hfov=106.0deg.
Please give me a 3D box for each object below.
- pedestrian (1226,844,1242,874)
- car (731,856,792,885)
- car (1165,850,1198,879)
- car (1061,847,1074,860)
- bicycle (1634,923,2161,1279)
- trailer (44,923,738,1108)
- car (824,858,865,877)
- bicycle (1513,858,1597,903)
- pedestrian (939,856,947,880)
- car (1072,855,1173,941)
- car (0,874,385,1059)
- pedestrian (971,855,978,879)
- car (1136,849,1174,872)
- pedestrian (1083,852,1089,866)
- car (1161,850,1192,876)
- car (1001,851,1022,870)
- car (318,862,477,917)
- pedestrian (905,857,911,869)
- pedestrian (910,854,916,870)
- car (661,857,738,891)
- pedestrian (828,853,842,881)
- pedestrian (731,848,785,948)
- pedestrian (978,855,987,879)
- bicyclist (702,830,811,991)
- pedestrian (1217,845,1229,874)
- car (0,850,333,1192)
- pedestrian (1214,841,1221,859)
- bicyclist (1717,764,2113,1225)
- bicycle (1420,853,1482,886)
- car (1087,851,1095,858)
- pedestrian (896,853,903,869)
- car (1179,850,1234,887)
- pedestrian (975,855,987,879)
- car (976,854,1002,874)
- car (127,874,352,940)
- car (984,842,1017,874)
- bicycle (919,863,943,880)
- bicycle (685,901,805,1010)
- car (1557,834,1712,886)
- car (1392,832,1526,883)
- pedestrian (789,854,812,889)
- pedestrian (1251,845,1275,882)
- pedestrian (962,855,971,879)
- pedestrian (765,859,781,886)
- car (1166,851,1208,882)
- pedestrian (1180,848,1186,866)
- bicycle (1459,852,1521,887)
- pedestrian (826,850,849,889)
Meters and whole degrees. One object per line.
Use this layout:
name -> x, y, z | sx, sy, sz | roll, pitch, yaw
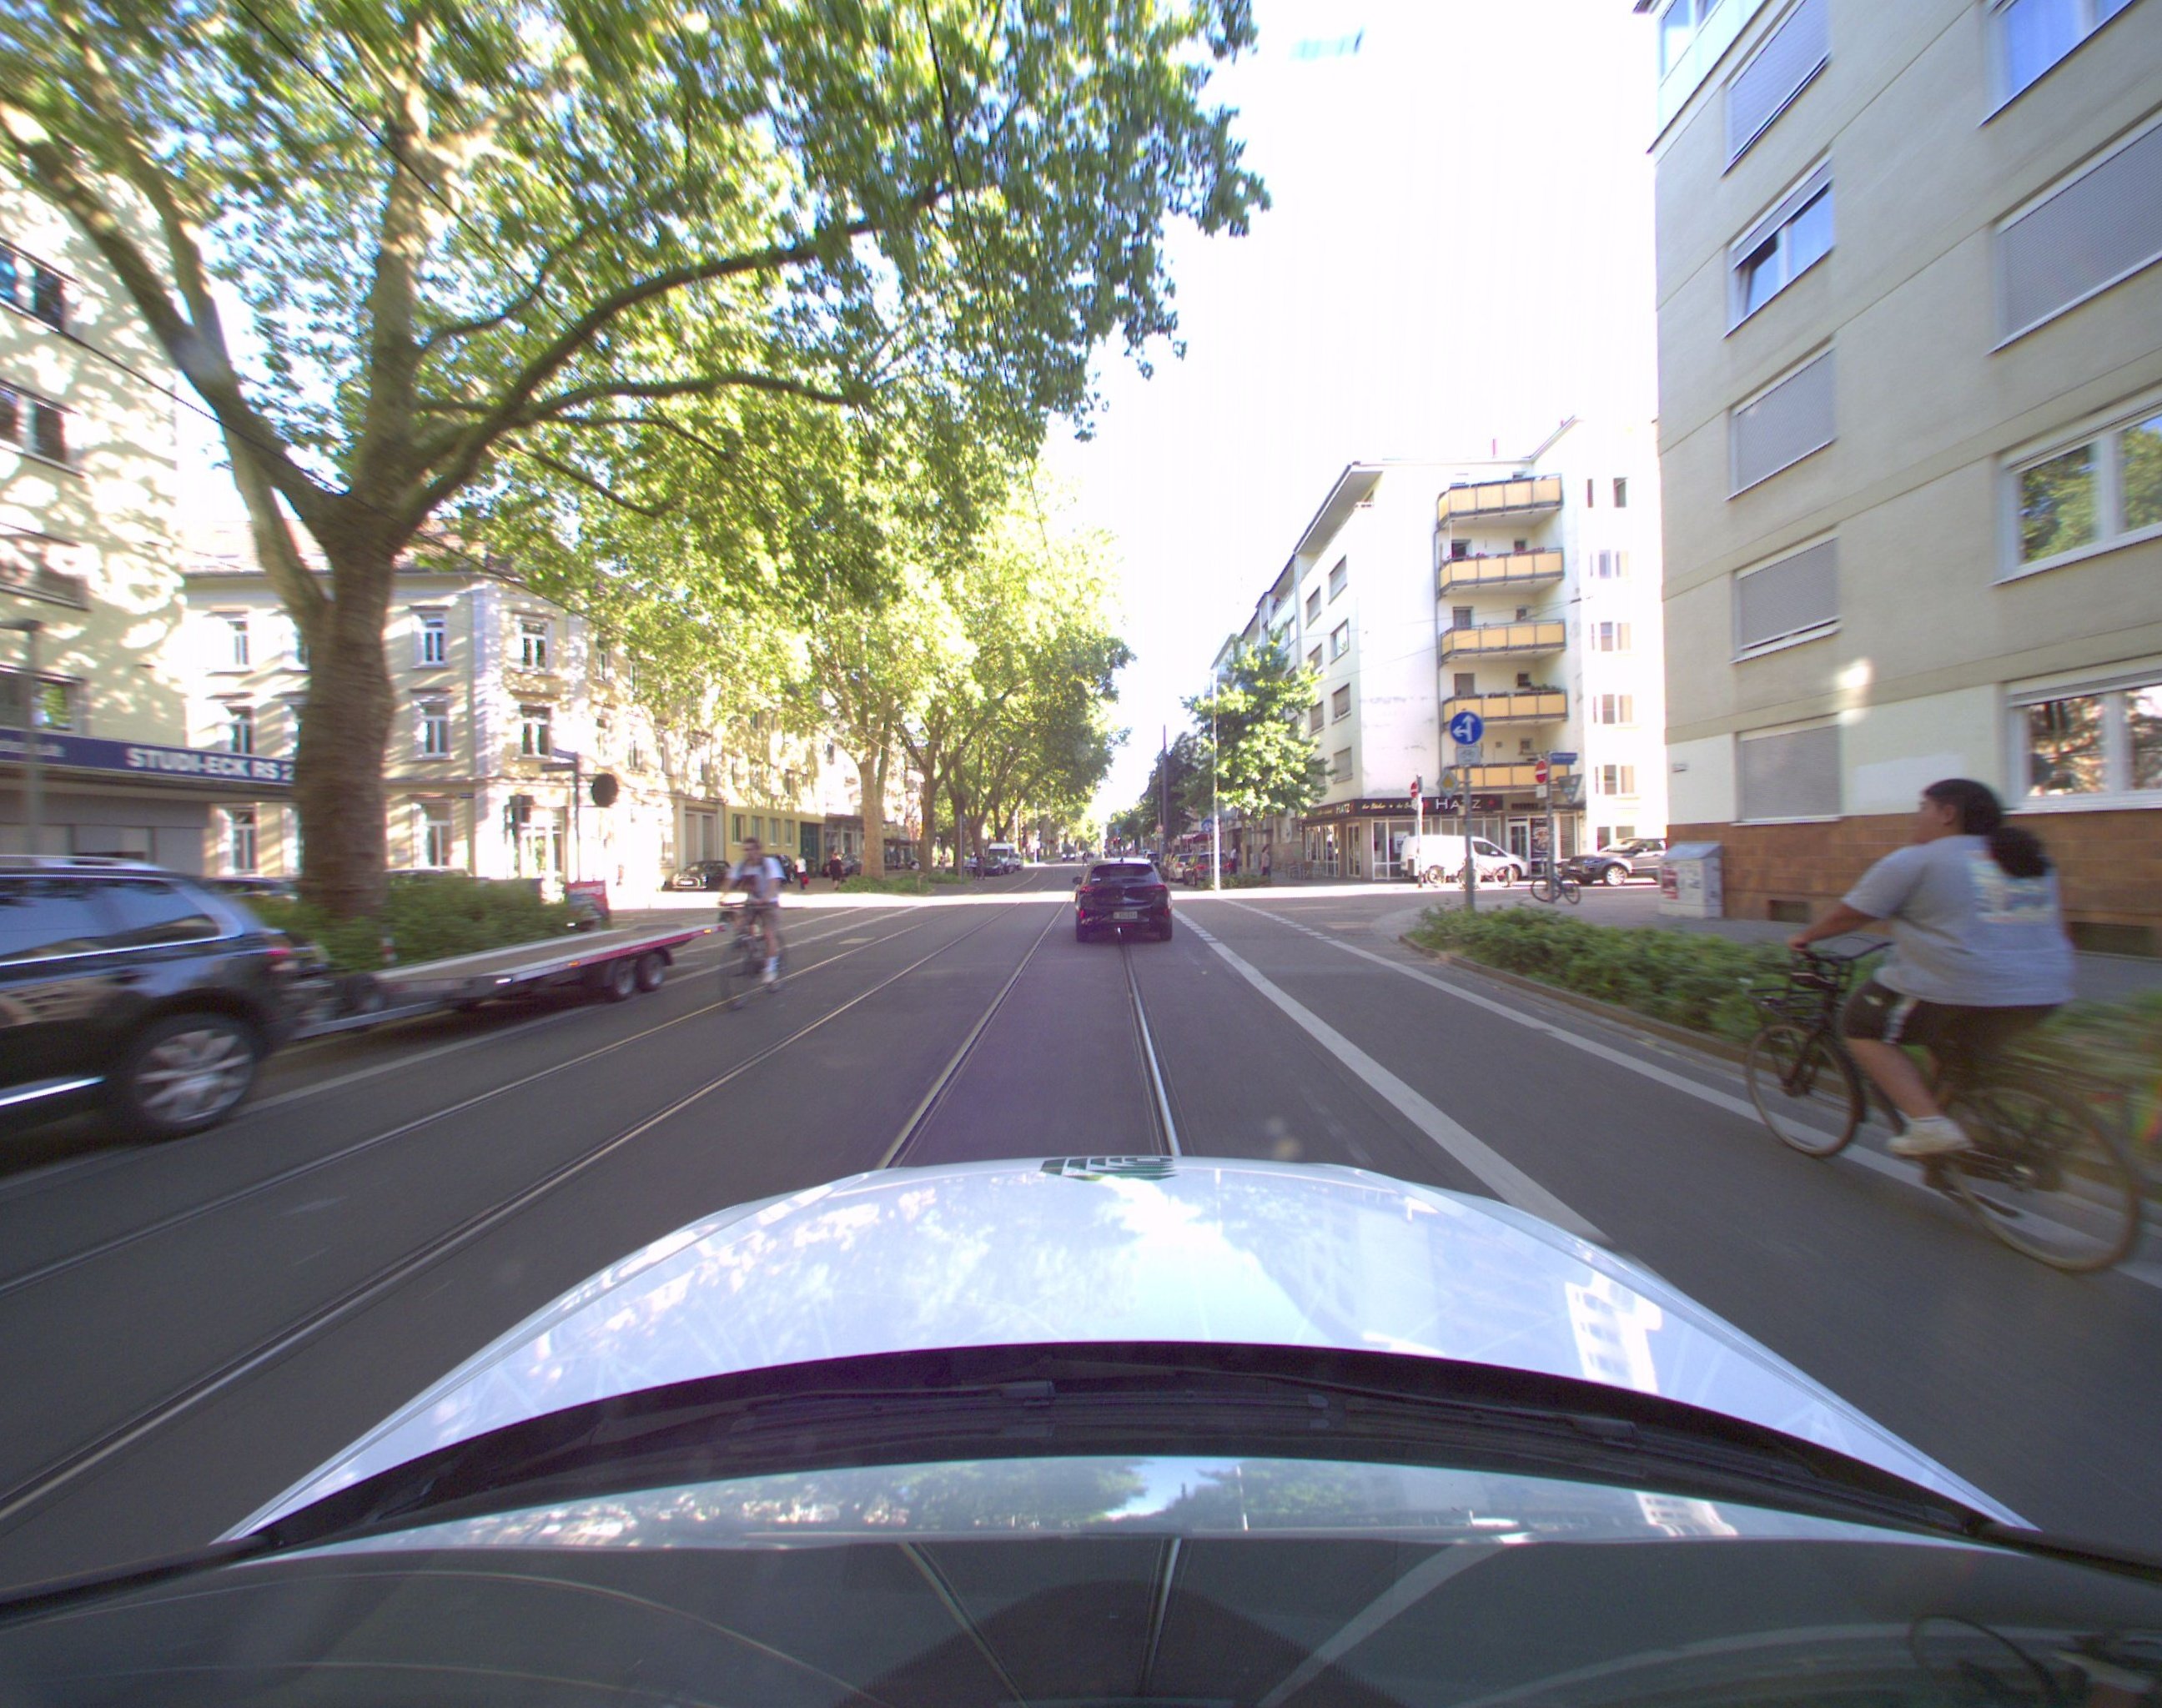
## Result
pedestrian -> 9.135, 0.314, 48.606 | 0.789, 1.748, 0.771 | -1, 0, 3
car -> -17.813, 0.883, 45.586 | 1.675, 1.517, 4.002 | 0, 0, 2
car -> 5.812, 0.586, 47.448 | 1.644, 1.574, 3.086 | -1, 0, 3
car -> -2.351, -0.061, 138.168 | 1.989, 2.211, 5.097 | -1, 0, -3
bicycle -> 3.635, 0.954, 3.865 | 0.698, 1.092, 1.990 | 1, -1, 1
trailer -> -6.247, 1.414, 8.986 | 2.154, 0.632, 6.399 | -4, 0, 0
car -> -17.115, 0.939, 59.071 | 1.689, 1.276, 3.829 | -1, 0, 1
bicycle -> 11.628, 0.630, 20.066 | 0.801, 1.015, 1.966 | -2, 0, -4
pedestrian -> -9.228, 0.900, 54.449 | 0.507, 1.583, 0.525 | -1, 0, -10
car -> 0.726, 0.733, 15.415 | 1.674, 1.422, 3.628 | 0, 0, 1
car -> -9.374, 1.026, 8.010 | 3.421, 1.530, 1.786 | -1, 0, -2
pedestrian -> -7.080, 0.869, 54.160 | 0.345, 1.583, 0.508 | -1, 0, -1
car -> 5.561, 0.454, 61.802 | 1.992, 1.640, 3.990 | -1, 0, -7
pedestrian -> 0.565, 0.522, 93.175 | 0.594, 1.590, 0.891 | -1, 0, -6
car -> 5.978, 0.554, 51.322 | 1.711, 1.574, 3.685 | -1, 0, 3
car -> -6.826, 0.633, 80.630 | 1.990, 1.717, 3.994 | -1, 0, -4
car -> -23.179, 1.185, 27.721 | 3.632, 1.584, 2.002 | -1, 3, 2
pedestrian -> -18.164, 0.935, 85.343 | 0.505, 1.333, 0.526 | -1, 0, -2
pedestrian -> -17.510, 0.829, 85.056 | 0.505, 1.583, 0.526 | -1, 0, -2
car -> -18.327, 0.923, 39.276 | 1.675, 1.464, 4.002 | -1, 0, 2
pedestrian -> -14.861, 0.799, 49.249 | 0.549, 1.652, 0.650 | -1, 0, 5
pedestrian -> -5.903, 0.783, 14.934 | 0.712, 1.735, 0.909 | -3, 0, -13
pedestrian -> -6.553, 0.878, 54.193 | 0.505, 1.583, 0.527 | -1, 0, 1
bicyclist -> -3.589, 0.593, 9.081 | 0.781, 1.678, 0.957 | -1, 0, 1
pedestrian -> 8.271, 0.296, 47.457 | 0.598, 1.651, 0.631 | -1, 0, 2
car -> -6.399, 0.878, 3.546 | 1.986, 1.700, 4.486 | -3, 0, 1
pedestrian -> 13.043, -0.354, 77.721 | 0.626, 1.732, 0.633 | -1, 0, 7
bicyclist -> 3.566, 0.539, 3.591 | 0.784, 1.759, 0.915 | -1, 0, 1
bicycle -> 13.059, 0.539, 28.784 | 1.827, 1.117, 0.704 | -1, 0, 4
car -> 2.461, 0.179, 202.096 | 1.743, 1.651, 4.003 | -1, 0, 3
pedestrian -> -18.127, 0.651, 81.255 | 0.552, 1.583, 0.573 | -1, 0, -3
car -> 5.751, 0.632, 37.696 | 1.714, 1.574, 4.081 | -1, 0, -3
pedestrian -> -6.721, 0.879, 54.817 | 0.681, 1.583, 0.557 | -1, 0, -1
car -> -7.168, 0.769, 63.740 | 1.750, 1.508, 3.997 | -1, 0, -2
car -> -22.442, 1.371, 21.857 | 3.977, 1.535, 1.819 | -1, 0, -3
car -> -6.878, 0.335, 70.000 | 2.085, 2.584, 5.998 | -1, 0, 1
bicycle -> -9.977, 1.171, 54.071 | 1.675, 1.062, 0.455 | 0, -1, 31
bicycle -> -3.689, 1.074, 9.119 | 0.519, 0.962, 1.928 | -1, 0, 0
car -> 18.647, 0.181, 27.547 | 3.991, 1.606, 1.804 | -1, 0, 1
car -> 14.824, 0.120, 32.079 | 4.348, 1.831, 1.998 | -1, 0, -3
pedestrian -> -13.385, 0.849, 38.867 | 0.845, 1.632, 0.643 | -1, 0, -5
pedestrian -> 7.936, 0.410, 35.496 | 0.847, 1.616, 0.775 | -1, 0, 26
pedestrian -> -7.564, 0.832, 53.885 | 0.505, 1.583, 0.526 | -1, 0, -3
pedestrian -> -16.306, 0.972, 43.104 | 0.549, 1.403, 0.650 | -1, 0, 5
car -> 5.587, 0.633, 43.278 | 1.713, 1.490, 3.681 | -1, 0, 0
pedestrian -> 10.089, 0.328, 80.577 | 0.626, 1.732, 0.633 | -1, 0, 6
bicycle -> 13.868, 0.521, 27.669 | 1.759, 1.117, 0.616 | -1, 0, 14
pedestrian -> -11.775, 0.754, 39.374 | 0.903, 1.869, 0.643 | -1, 0, -5
